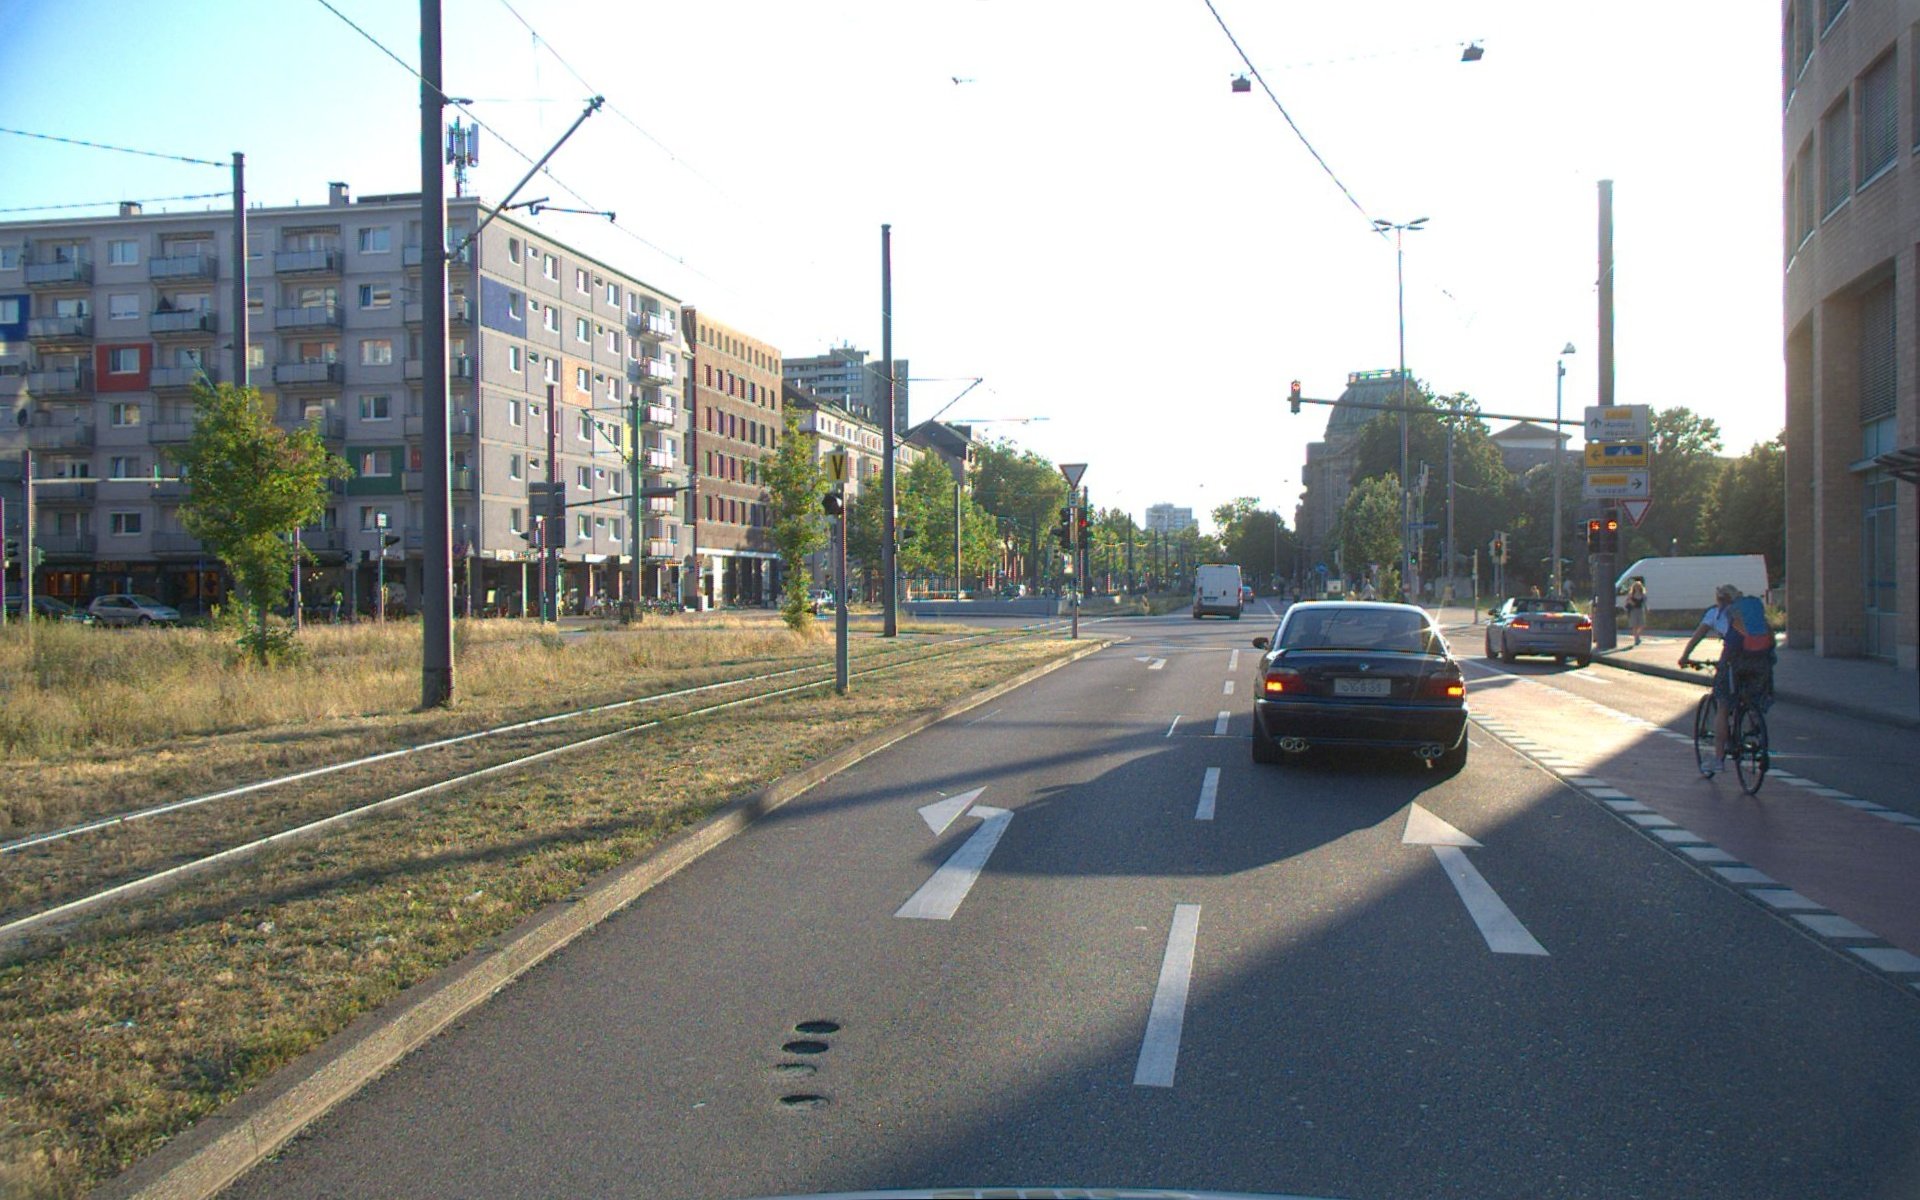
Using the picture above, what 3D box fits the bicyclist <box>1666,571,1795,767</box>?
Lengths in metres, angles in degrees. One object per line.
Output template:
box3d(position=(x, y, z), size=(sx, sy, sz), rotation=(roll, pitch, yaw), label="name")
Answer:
box3d(position=(6.226, 0.532, 13.408), size=(0.641, 1.509, 1.039), rotation=(1, 0, 8), label="bicyclist")

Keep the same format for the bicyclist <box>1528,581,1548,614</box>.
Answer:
box3d(position=(25.989, -0.097, 74.346), size=(0.836, 1.467, 0.663), rotation=(0, 1, 22), label="bicyclist")

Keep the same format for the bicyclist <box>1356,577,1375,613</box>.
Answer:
box3d(position=(18.360, -0.249, 74.881), size=(0.780, 1.598, 0.664), rotation=(-1, 1, 12), label="bicyclist")

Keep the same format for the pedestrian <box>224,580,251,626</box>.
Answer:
box3d(position=(-30.215, 0.134, 69.136), size=(0.690, 1.884, 0.737), rotation=(-1, 1, 11), label="pedestrian")

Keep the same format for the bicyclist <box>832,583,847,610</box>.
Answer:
box3d(position=(-6.599, -0.197, 90.791), size=(0.647, 1.467, 0.857), rotation=(1, 2, 5), label="bicyclist")

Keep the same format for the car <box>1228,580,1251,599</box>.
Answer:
box3d(position=(25.052, -0.957, 148.325), size=(1.756, 1.593, 4.004), rotation=(-1, 2, 6), label="car")

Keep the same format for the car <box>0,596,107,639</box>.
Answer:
box3d(position=(-36.456, 0.702, 66.122), size=(3.783, 1.612, 1.805), rotation=(-1, 1, 5), label="car")

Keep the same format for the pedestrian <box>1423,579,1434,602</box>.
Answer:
box3d(position=(33.443, -0.698, 118.040), size=(0.667, 1.639, 0.613), rotation=(-1, 1, 11), label="pedestrian")

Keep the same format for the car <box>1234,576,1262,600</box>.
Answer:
box3d(position=(18.434, -0.755, 105.650), size=(1.700, 1.410, 4.004), rotation=(-1, 2, 11), label="car")

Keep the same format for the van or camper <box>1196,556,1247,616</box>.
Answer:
box3d(position=(12.358, -0.698, 77.952), size=(2.214, 2.670, 4.507), rotation=(-1, 2, 11), label="van or camper")

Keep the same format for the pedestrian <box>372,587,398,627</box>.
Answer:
box3d(position=(-24.979, 0.295, 71.831), size=(0.724, 1.698, 0.783), rotation=(0, 1, 23), label="pedestrian")

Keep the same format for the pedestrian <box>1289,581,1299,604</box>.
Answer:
box3d(position=(21.935, -0.475, 108.707), size=(0.603, 1.501, 0.801), rotation=(-1, 1, 14), label="pedestrian")

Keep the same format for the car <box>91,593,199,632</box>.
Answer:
box3d(position=(-35.494, 0.539, 72.049), size=(3.783, 1.612, 1.805), rotation=(-1, 1, 5), label="car")

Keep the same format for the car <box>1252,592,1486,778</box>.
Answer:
box3d(position=(3.660, 0.659, 15.498), size=(1.791, 1.377, 4.646), rotation=(1, 1, 10), label="car")

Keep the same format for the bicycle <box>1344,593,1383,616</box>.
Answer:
box3d(position=(18.276, 0.202, 74.905), size=(1.691, 0.987, 0.610), rotation=(0, 1, 11), label="bicycle")

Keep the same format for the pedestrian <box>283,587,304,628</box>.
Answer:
box3d(position=(-27.647, 0.315, 68.638), size=(0.503, 1.657, 0.616), rotation=(-1, 1, 11), label="pedestrian")

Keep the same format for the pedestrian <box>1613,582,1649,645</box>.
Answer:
box3d(position=(17.425, 0.339, 42.957), size=(0.662, 1.597, 0.801), rotation=(-1, 1, 8), label="pedestrian")

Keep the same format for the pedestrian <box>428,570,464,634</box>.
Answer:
box3d(position=(-14.655, 0.059, 47.126), size=(0.706, 1.793, 0.649), rotation=(0, 1, 31), label="pedestrian")

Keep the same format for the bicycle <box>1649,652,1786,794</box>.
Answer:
box3d(position=(6.107, 0.961, 13.423), size=(0.504, 0.971, 1.777), rotation=(1, 1, 8), label="bicycle")

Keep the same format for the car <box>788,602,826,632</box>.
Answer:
box3d(position=(-8.503, 0.931, 91.601), size=(1.682, 1.459, 3.990), rotation=(0, 2, -11), label="car")

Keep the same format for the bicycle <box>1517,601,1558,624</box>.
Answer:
box3d(position=(25.980, 0.552, 74.376), size=(1.684, 0.987, 0.609), rotation=(1, 2, 24), label="bicycle")

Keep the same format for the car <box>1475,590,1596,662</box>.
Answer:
box3d(position=(12.352, 0.518, 35.719), size=(1.745, 1.377, 4.271), rotation=(1, 1, 9), label="car")

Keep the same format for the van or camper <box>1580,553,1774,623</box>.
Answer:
box3d(position=(29.122, -0.494, 67.428), size=(6.892, 2.721, 2.601), rotation=(-1, 1, 13), label="van or camper")
